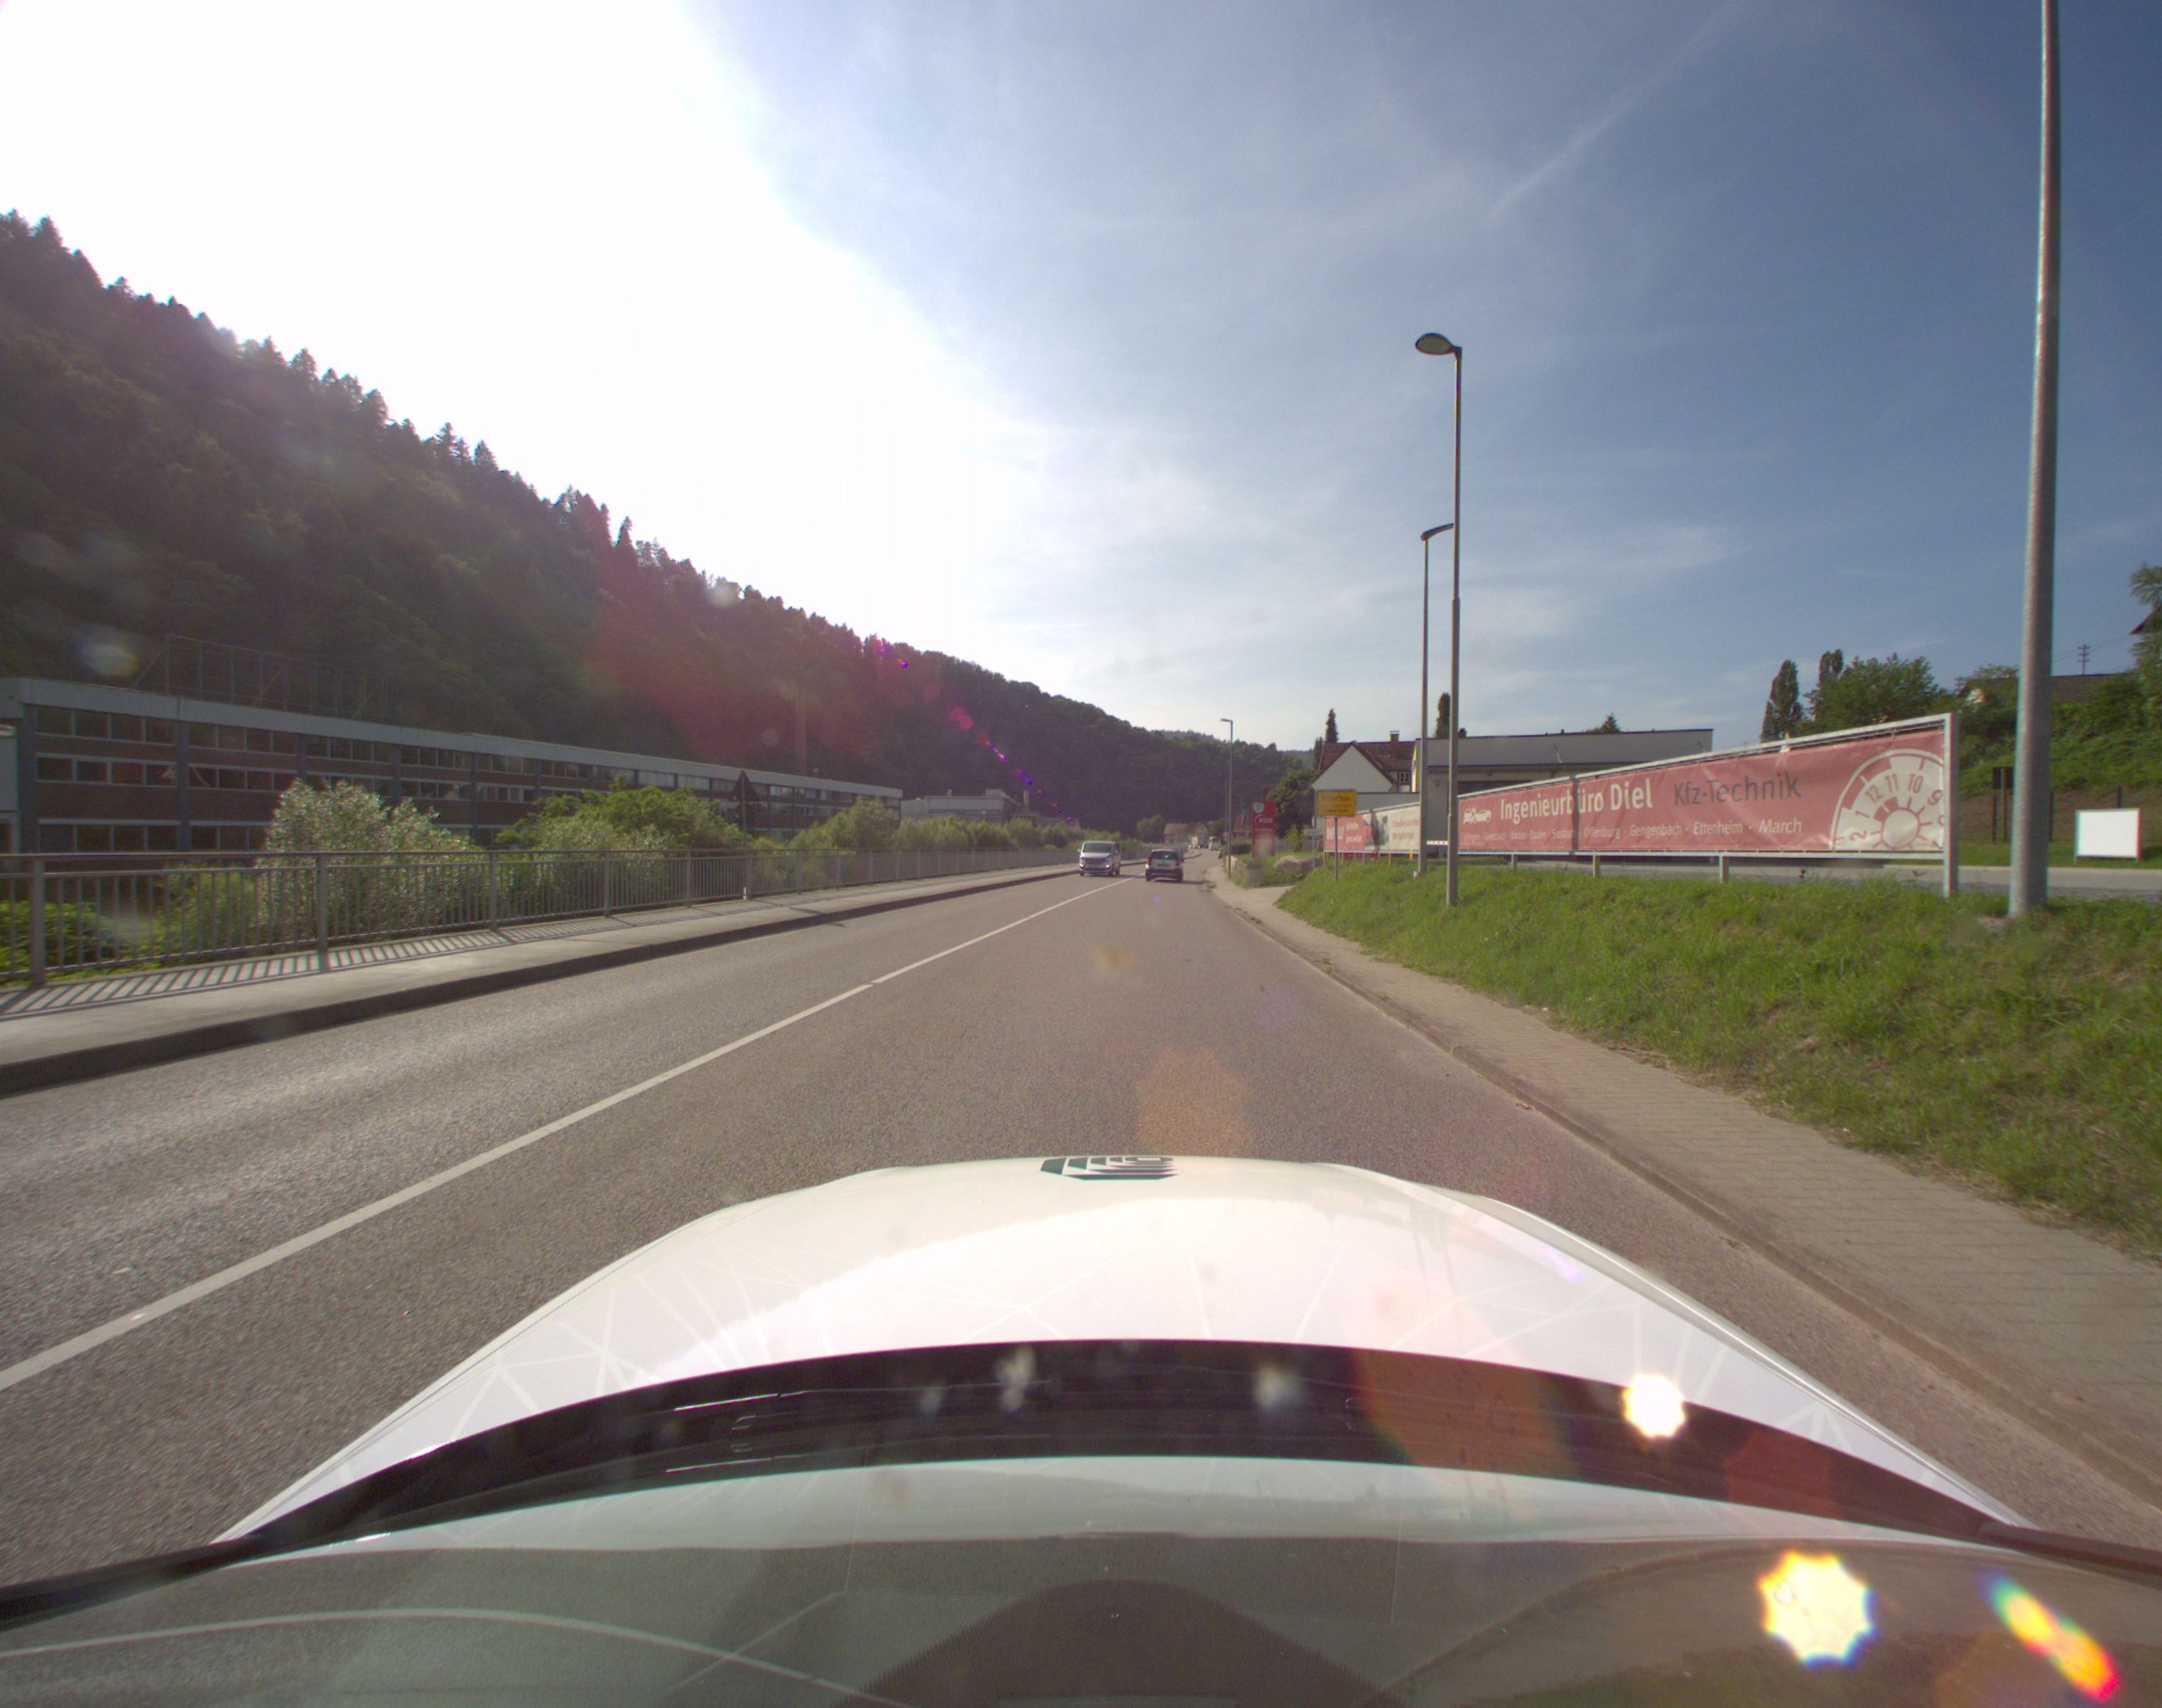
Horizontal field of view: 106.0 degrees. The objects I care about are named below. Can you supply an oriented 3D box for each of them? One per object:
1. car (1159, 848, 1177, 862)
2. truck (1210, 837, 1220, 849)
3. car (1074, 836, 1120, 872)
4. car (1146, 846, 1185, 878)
[{"bbox_3d":[9.879,0.101,92.043,1.803,1.484,4.809,1,0,9],"label":"car"},{"bbox_3d":[37.258,-3.108,227.047,2.713,3.374,6.496,1,2,9],"label":"truck"},{"bbox_3d":[0.991,0.026,46.969,1.908,1.967,5.160,0,0,10],"label":"car"},{"bbox_3d":[4.337,0.361,41.835,1.852,1.544,4.380,1,1,6],"label":"car"}]
